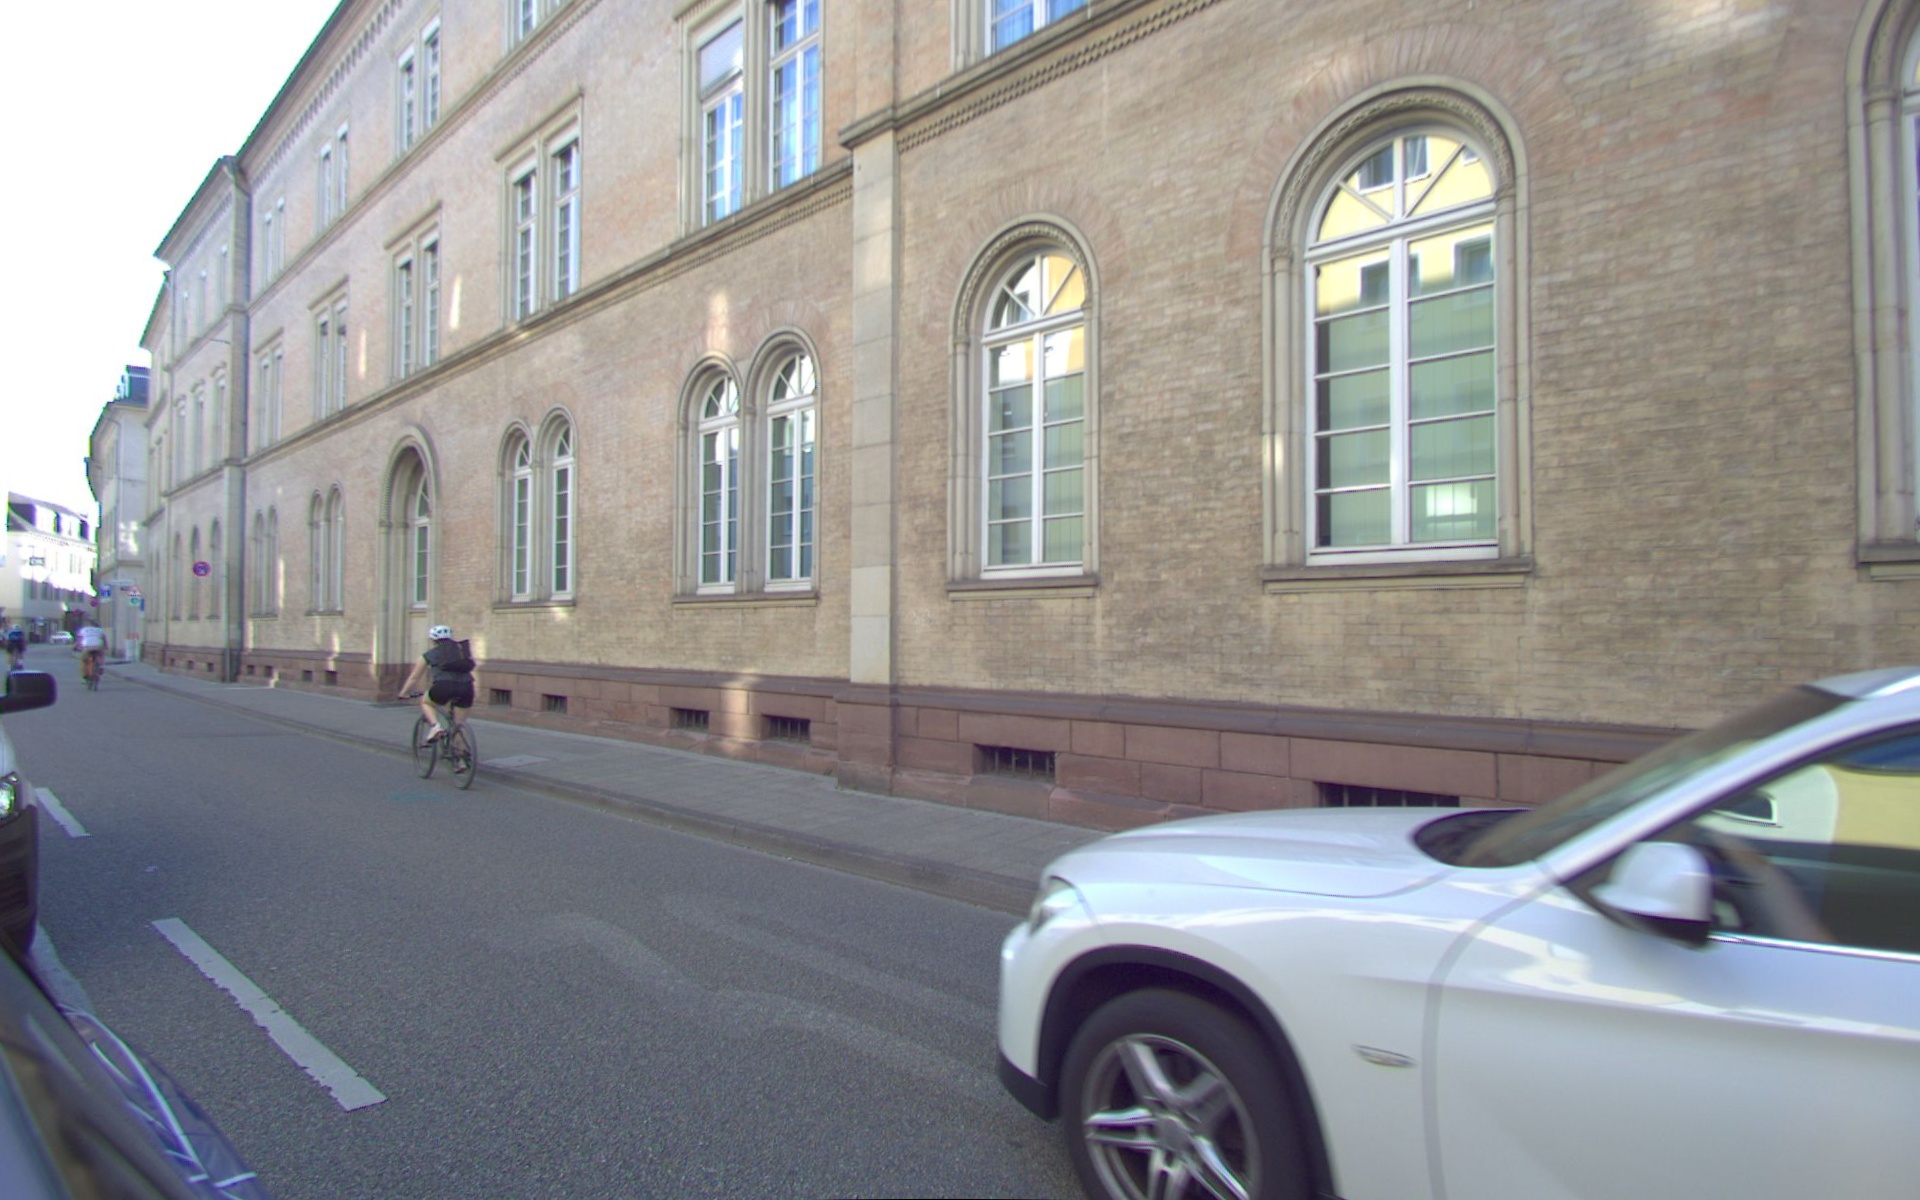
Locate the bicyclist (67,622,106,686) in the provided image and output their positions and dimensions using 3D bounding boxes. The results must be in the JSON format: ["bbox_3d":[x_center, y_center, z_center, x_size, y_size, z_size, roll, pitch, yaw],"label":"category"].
[{"bbox_3d":[-22.074,1.357,25.589,0.642,1.579,0.962,5,-5,-40],"label":"bicyclist"}]

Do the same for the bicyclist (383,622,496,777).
[{"bbox_3d":[-5.270,0.982,10.247,0.871,1.487,0.678,-2,-5,41],"label":"bicyclist"}]

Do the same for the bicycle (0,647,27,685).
[{"bbox_3d":[-26.703,1.850,28.502,0.538,1.014,1.759,5,-5,-42],"label":"bicycle"}]

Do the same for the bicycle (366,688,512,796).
[{"bbox_3d":[-5.305,1.395,10.270,1.765,0.931,0.678,-2,-5,41],"label":"bicycle"}]

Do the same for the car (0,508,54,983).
[{"bbox_3d":[-6.248,0.610,5.143,5.338,1.850,1.795,-2,-3,41],"label":"car"}]

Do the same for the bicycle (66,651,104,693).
[{"bbox_3d":[-22.081,1.812,25.568,0.642,1.014,1.809,5,-5,-40],"label":"bicycle"}]

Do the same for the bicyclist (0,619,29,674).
[{"bbox_3d":[-26.762,1.317,28.605,0.538,1.545,0.870,5,-5,-42],"label":"bicyclist"}]

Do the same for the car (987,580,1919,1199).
[{"bbox_3d":[2.230,0.810,1.923,4.273,1.595,1.667,-2,-5,41],"label":"car"}]
